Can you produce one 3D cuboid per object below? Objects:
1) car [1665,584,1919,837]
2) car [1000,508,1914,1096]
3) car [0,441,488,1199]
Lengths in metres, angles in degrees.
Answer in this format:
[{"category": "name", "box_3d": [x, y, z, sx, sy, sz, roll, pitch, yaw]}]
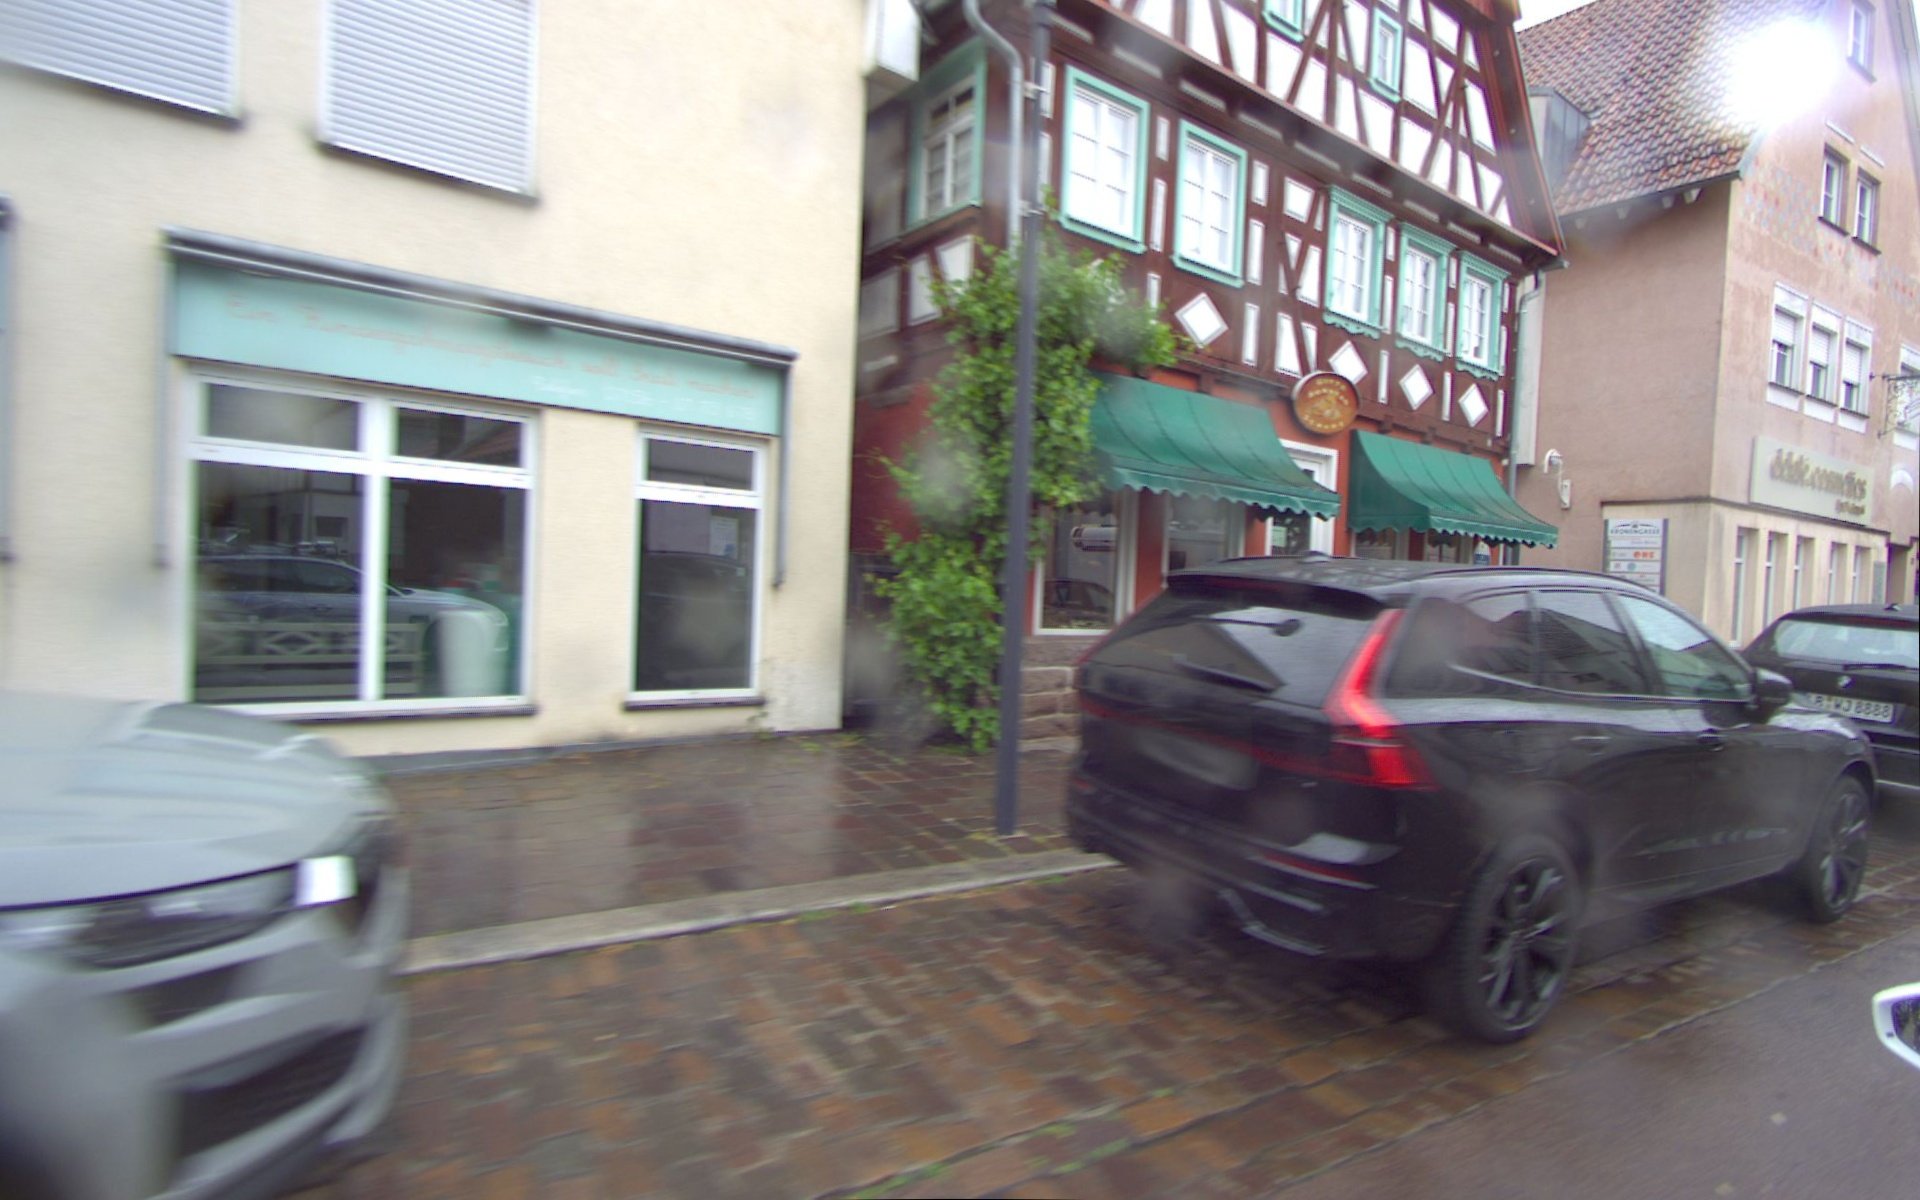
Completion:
[{"category": "car", "box_3d": [7.615, 0.771, 7.906, 4.234, 1.572, 1.823, 2, 0, -32]}, {"category": "car", "box_3d": [2.583, 0.640, 4.858, 4.490, 1.697, 1.823, 2, 0, -32]}, {"category": "car", "box_3d": [-3.207, 0.514, 1.458, 4.426, 1.697, 1.763, 2, 2, -29]}]
